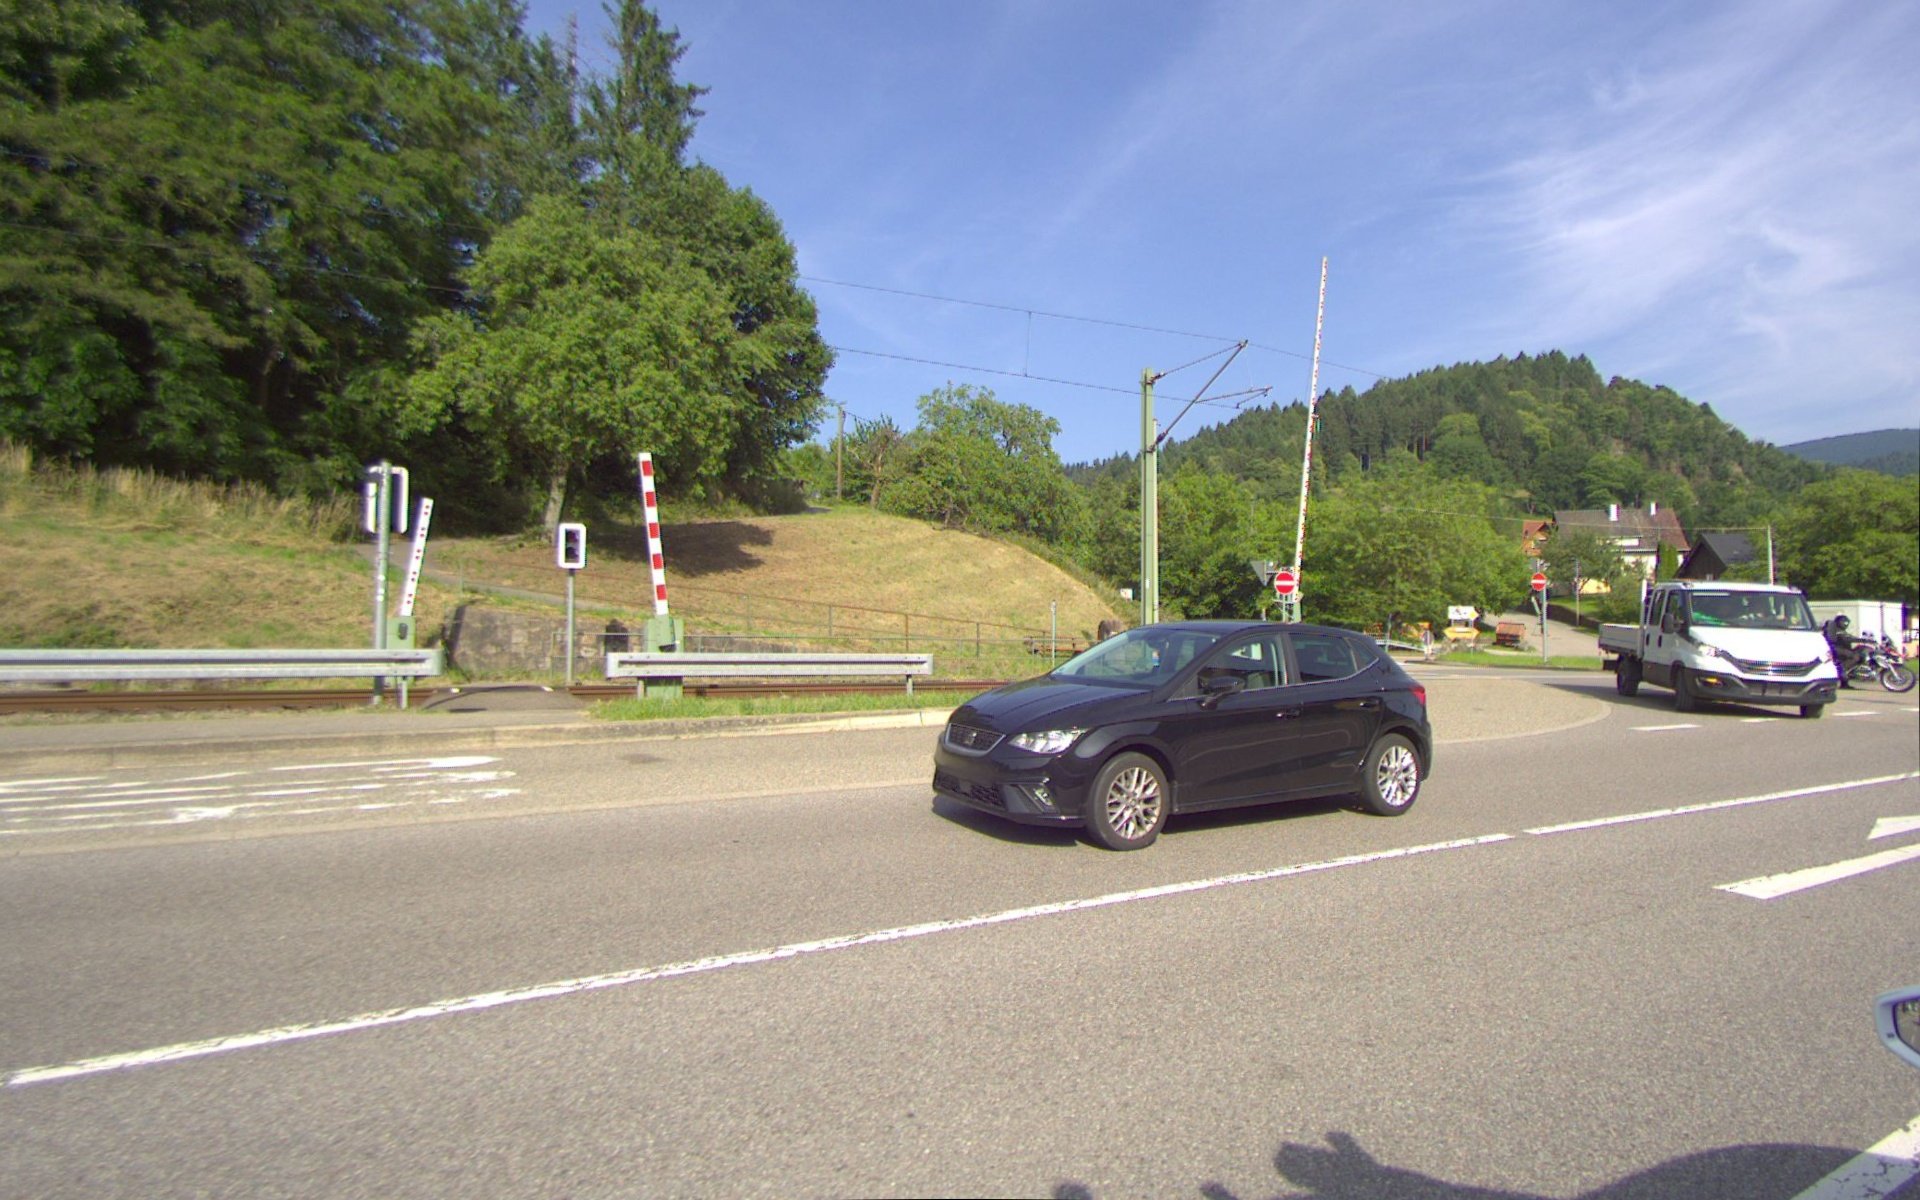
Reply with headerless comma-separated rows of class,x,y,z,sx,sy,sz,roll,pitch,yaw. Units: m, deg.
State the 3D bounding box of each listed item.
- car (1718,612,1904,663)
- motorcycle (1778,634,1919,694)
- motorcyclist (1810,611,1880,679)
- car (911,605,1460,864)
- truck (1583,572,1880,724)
car,44.698,1.939,53.070,2.903,2.489,7.057,1,-1,-19
motorcycle,21.570,1.519,24.370,0.998,1.285,2.560,2,-1,-43
motorcyclist,21.530,1.083,24.433,0.985,1.565,1.171,2,0,-43
car,1.774,0.836,7.580,3.953,1.506,1.679,2,-1,-30
truck,13.736,0.774,18.537,2.406,2.296,6.282,1,-1,19
